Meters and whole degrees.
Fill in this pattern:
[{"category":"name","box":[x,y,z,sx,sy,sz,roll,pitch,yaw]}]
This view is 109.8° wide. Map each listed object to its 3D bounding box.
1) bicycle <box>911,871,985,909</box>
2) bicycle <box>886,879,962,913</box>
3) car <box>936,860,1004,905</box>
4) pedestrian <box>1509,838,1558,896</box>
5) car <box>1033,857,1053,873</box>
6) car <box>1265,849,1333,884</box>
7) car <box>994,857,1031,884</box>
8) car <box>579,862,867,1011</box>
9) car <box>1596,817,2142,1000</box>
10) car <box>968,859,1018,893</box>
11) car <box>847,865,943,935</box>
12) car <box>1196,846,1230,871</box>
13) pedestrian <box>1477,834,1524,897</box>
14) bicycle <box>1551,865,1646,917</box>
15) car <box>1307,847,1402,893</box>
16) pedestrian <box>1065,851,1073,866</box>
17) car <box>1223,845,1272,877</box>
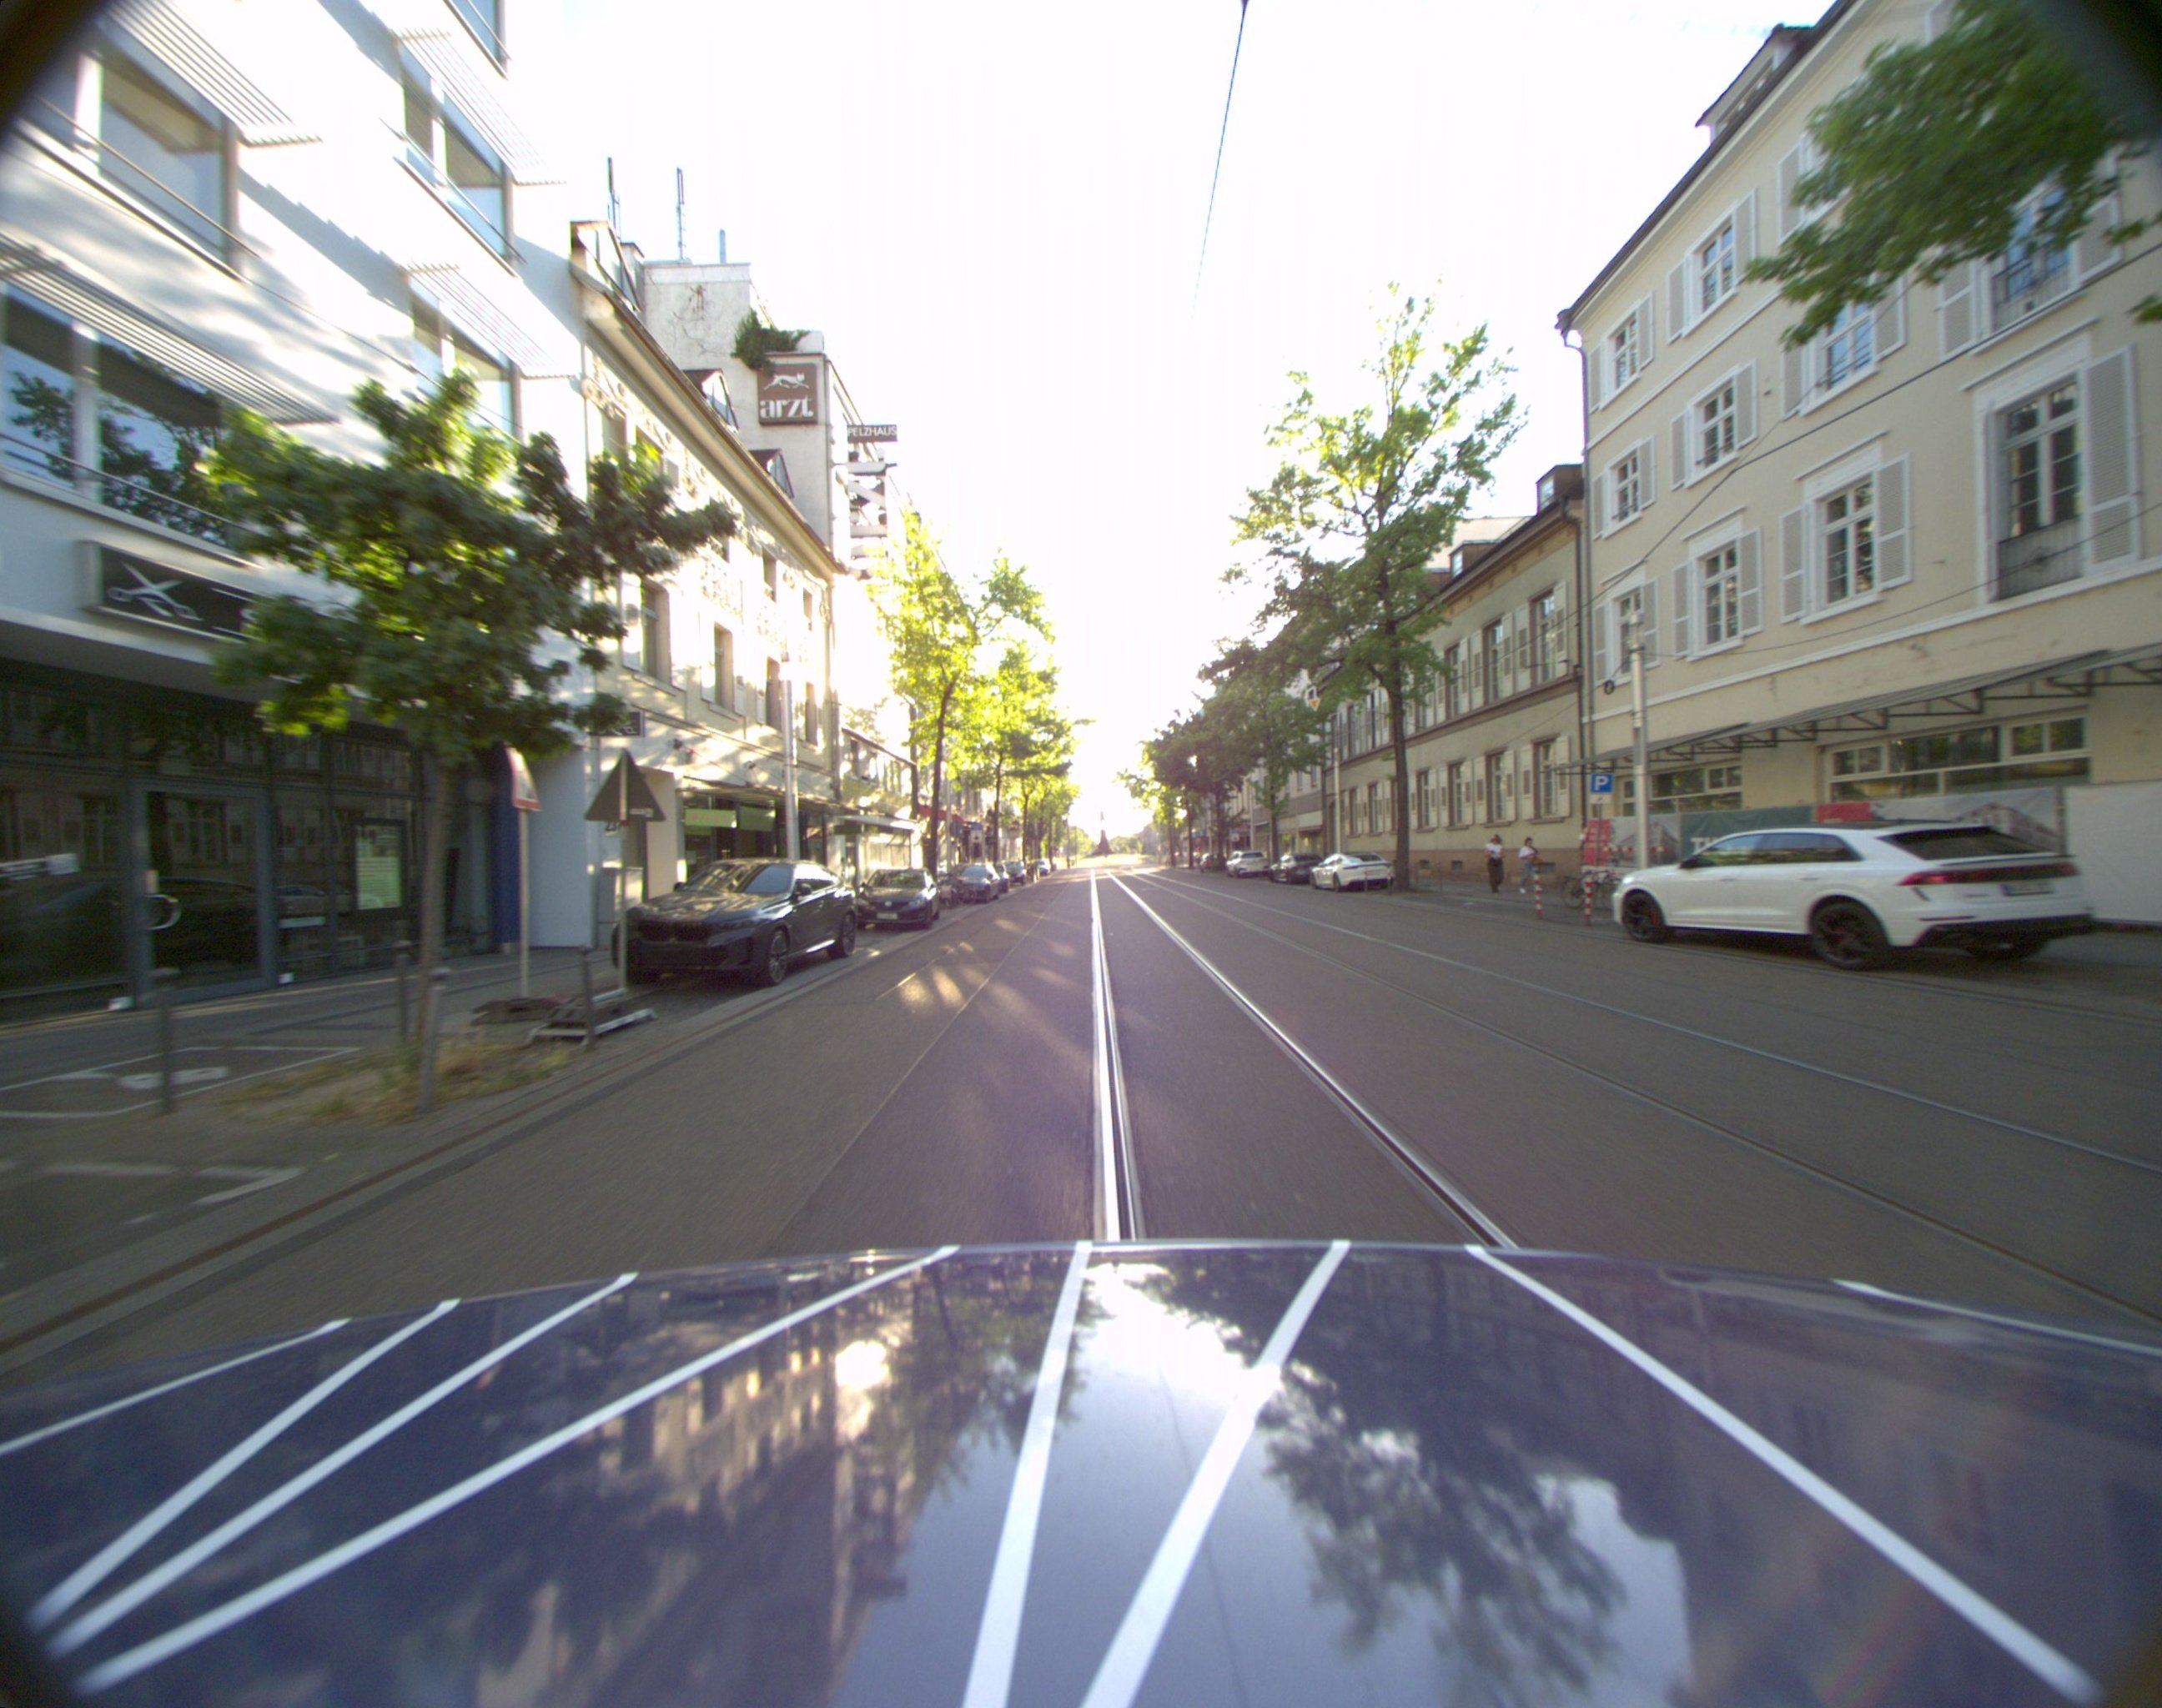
[{"category":"bicycle","box":[-4.490,1.210,25.781,2.325,1.181,0.751,-2,1,2]},{"category":"bicycle","box":[-4.927,1.309,23.935,2.249,0.982,0.615,-2,1,2]},{"category":"car","box":[-4.143,1.023,28.906,1.770,1.502,4.287,-2,0,2]},{"category":"pedestrian","box":[12.943,0.372,21.759,0.746,1.571,0.933,-4,1,1]},{"category":"car","box":[-3.529,0.970,70.402,1.564,1.391,3.698,1,0,1]},{"category":"car","box":[10.275,0.573,36.140,1.745,1.458,4.342,-4,0,-2]},{"category":"car","box":[-4.110,0.976,46.099,1.798,1.502,3.986,1,0,1]},{"category":"car","box":[-4.939,1.004,11.460,1.985,1.679,4.873,1,0,1]},{"category":"car","box":[9.547,0.539,10.041,1.870,1.679,4.950,-4,0,-2]},{"category":"car","box":[-4.300,1.029,37.537,1.869,1.502,4.286,1,0,1]},{"category":"car","box":[-4.572,1.073,19.269,1.871,1.502,4.242,1,0,-7]},{"category":"car","box":[10.820,0.348,62.608,1.931,1.946,4.765,-1,0,1]},{"category":"pedestrian","box":[12.079,0.329,21.881,0.746,1.732,0.933,-4,1,2]},{"category":"bicycle","box":[11.117,0.768,16.411,0.628,0.969,1.894,-4,0,-2]},{"category":"car","box":[10.066,0.550,28.378,1.897,1.458,4.617,-5,0,1]},{"category":"pedestrian","box":[-1.511,0.606,96.584,0.706,1.858,0.791,-2,1,-21]},{"category":"car","box":[10.393,0.410,47.737,1.952,1.731,4.765,-4,0,1]}]
